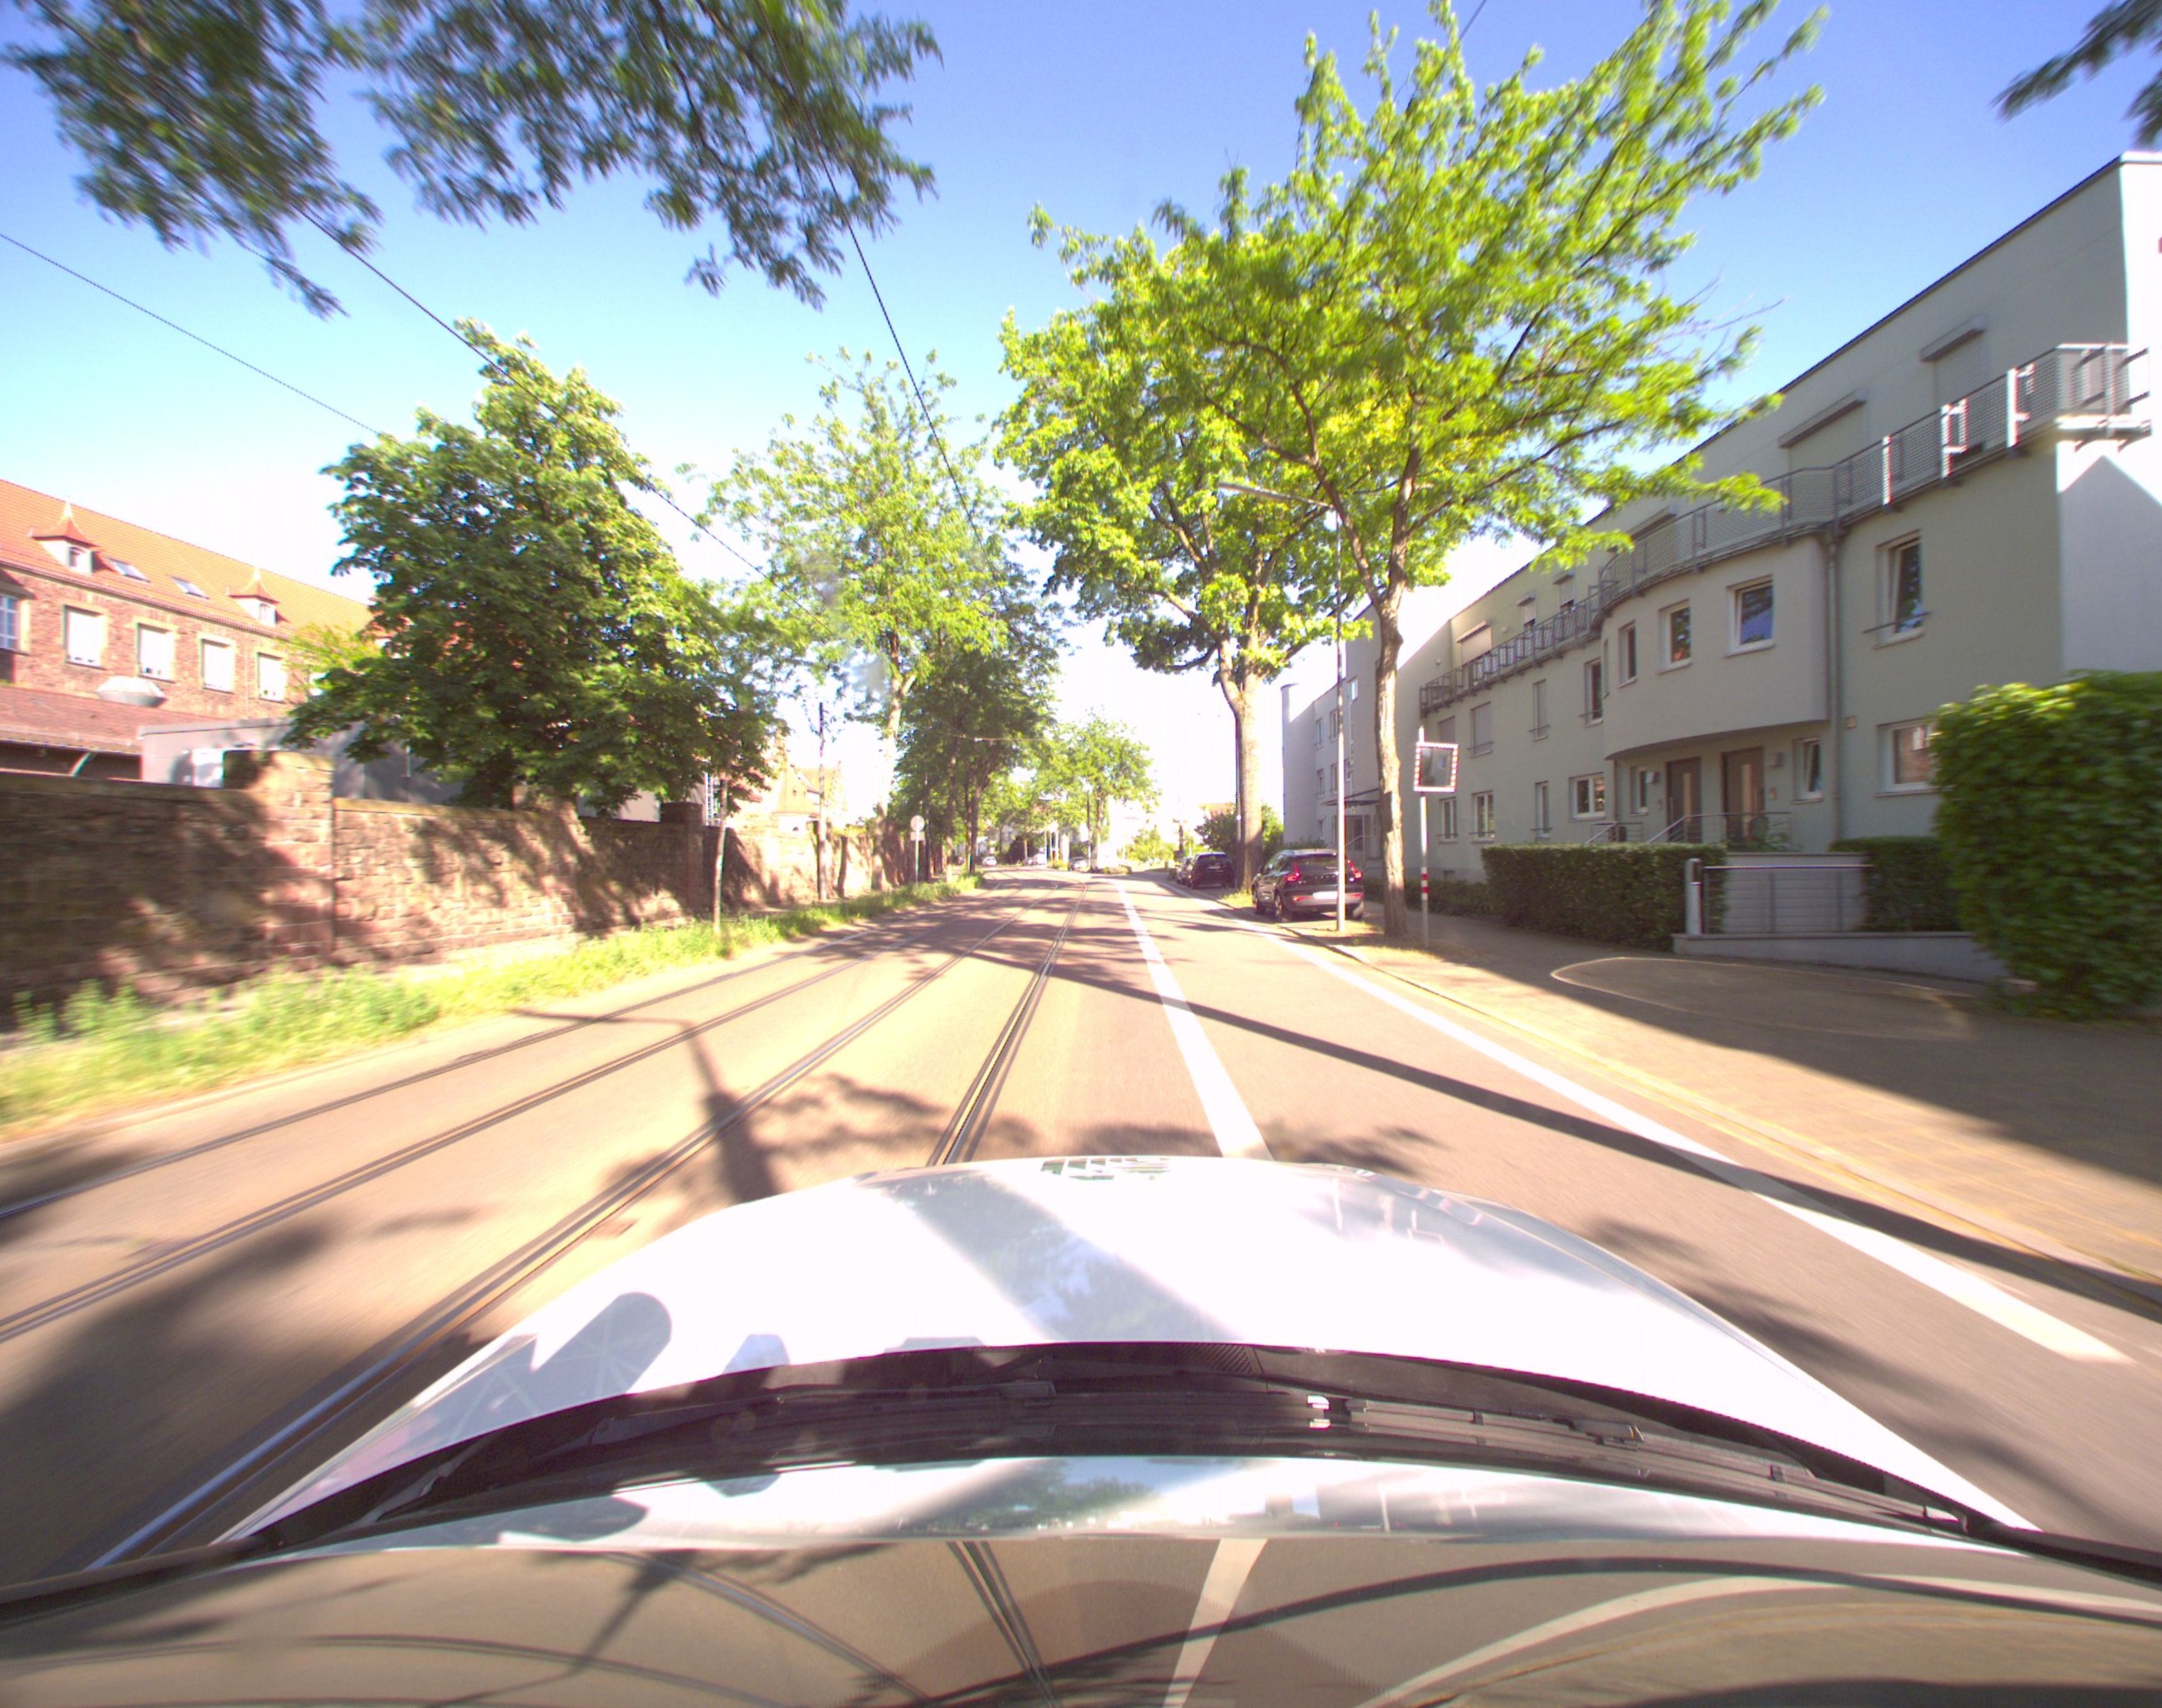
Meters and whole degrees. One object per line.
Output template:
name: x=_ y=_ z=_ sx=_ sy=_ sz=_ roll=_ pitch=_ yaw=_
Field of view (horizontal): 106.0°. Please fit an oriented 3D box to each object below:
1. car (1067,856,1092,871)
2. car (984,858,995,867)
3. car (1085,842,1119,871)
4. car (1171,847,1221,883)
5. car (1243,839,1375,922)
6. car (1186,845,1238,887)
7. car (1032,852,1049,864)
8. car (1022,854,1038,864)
car: x=-0.244 y=1.043 z=91.079 sx=2.004 sy=1.560 sz=4.376 roll=-2 pitch=0 yaw=-11
car: x=-16.826 y=1.529 z=149.166 sx=1.865 sy=1.675 sz=4.161 roll=-2 pitch=0 yaw=-8
car: x=1.861 y=0.208 z=73.099 sx=1.995 sy=2.458 sz=4.491 roll=-2 pitch=0 yaw=-11
car: x=6.006 y=0.532 z=42.901 sx=1.996 sy=1.675 sz=4.393 roll=-3 pitch=0 yaw=1
car: x=5.364 y=0.566 z=19.794 sx=1.996 sy=1.675 sz=4.393 roll=-3 pitch=0 yaw=1
car: x=5.904 y=0.514 z=37.265 sx=1.993 sy=1.675 sz=4.399 roll=-3 pitch=0 yaw=5
car: x=-7.030 y=0.679 z=141.077 sx=2.007 sy=1.910 sz=4.368 roll=-3 pitch=0 yaw=-16
car: x=-9.279 y=0.962 z=146.852 sx=2.007 sy=1.675 sz=4.150 roll=-3 pitch=0 yaw=-16
